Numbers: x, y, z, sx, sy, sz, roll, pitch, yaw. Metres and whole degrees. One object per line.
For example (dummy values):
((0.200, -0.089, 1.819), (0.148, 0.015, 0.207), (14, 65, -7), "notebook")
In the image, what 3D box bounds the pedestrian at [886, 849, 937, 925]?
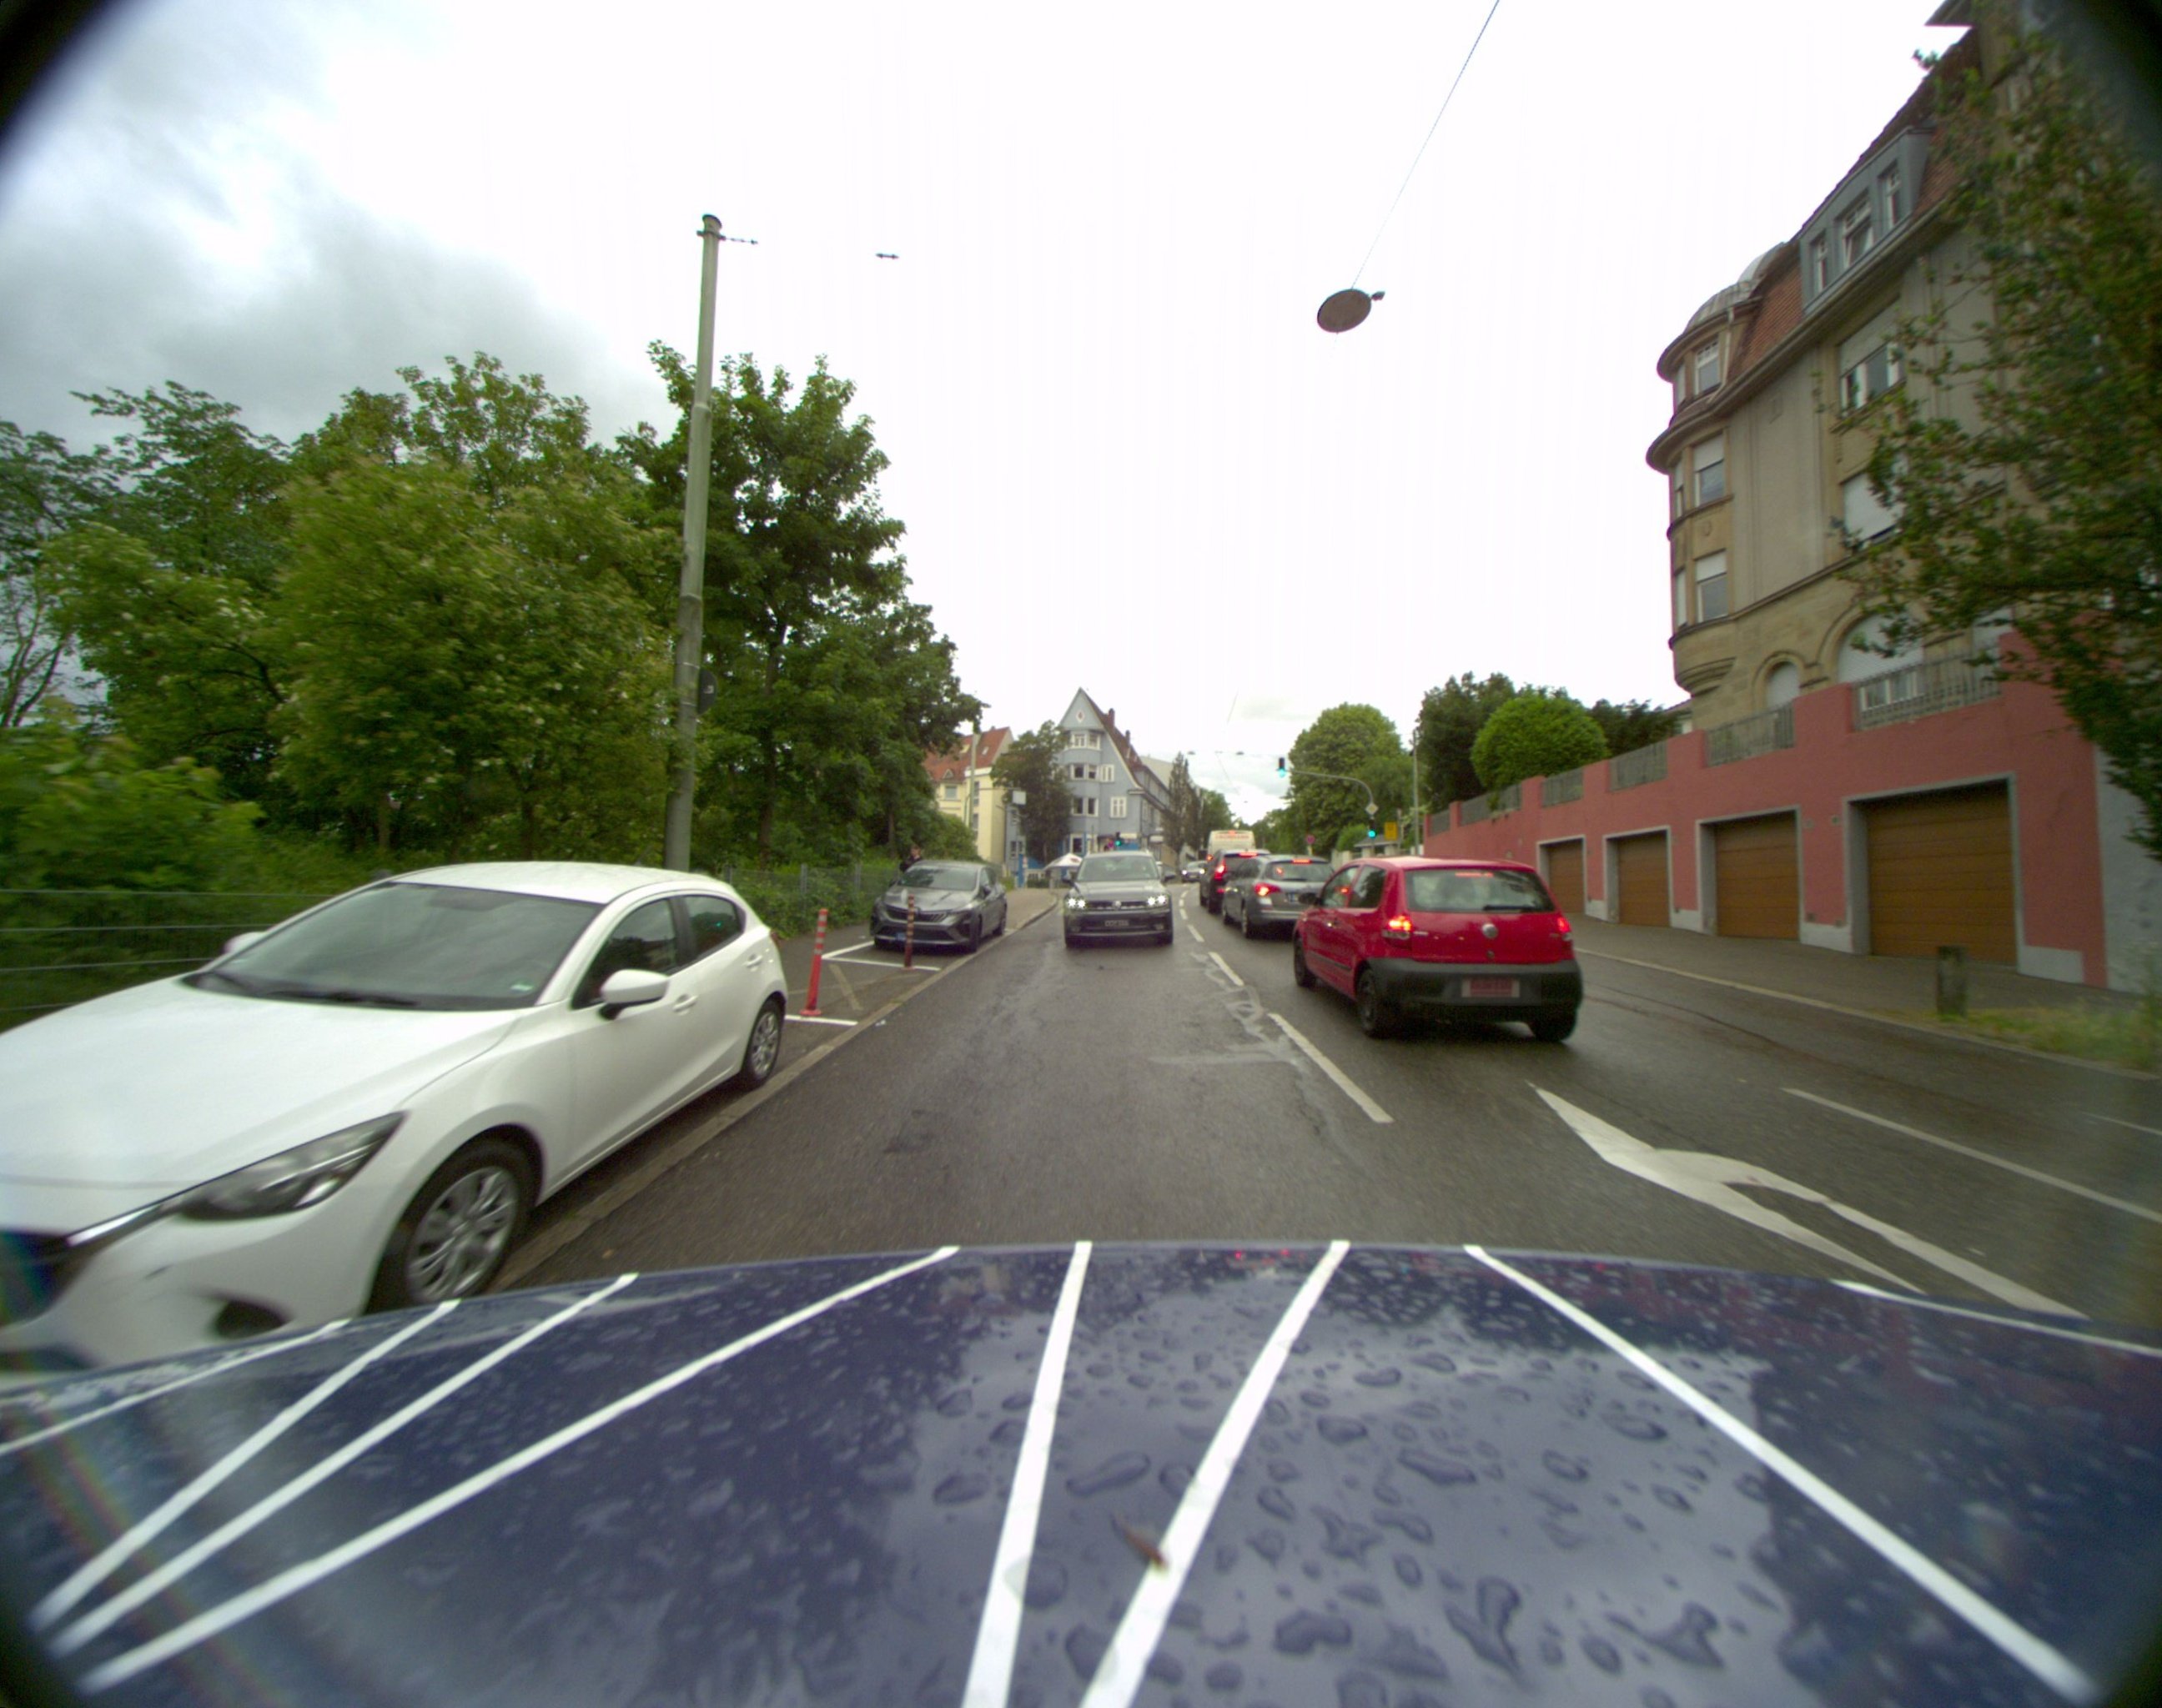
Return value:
((-3.717, 0.714, 16.765), (0.767, 1.596, 0.966), (3, 1, 6), "pedestrian")

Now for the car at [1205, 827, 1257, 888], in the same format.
((6.817, 0.128, 34.462), (2.121, 2.531, 5.545), (0, 0, 12), "car")

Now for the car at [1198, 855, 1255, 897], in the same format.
((5.361, 0.767, 28.351), (1.818, 1.421, 4.002), (1, 0, 7), "car")

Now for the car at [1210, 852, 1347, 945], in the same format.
((3.658, 0.743, 14.811), (1.778, 1.488, 4.264), (2, 0, 4), "car")

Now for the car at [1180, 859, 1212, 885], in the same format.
((7.998, 1.219, 52.766), (1.734, 1.610, 3.479), (-1, 0, 16), "car")

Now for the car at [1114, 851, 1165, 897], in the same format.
((2.323, 0.734, 29.236), (1.785, 1.631, 4.202), (0, 0, 7), "car")

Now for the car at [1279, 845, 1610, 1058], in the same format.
((3.194, 0.719, 7.615), (1.658, 1.559, 4.001), (0, 0, 4), "car")

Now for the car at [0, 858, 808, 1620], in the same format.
((-3.009, 0.890, 3.701), (1.819, 1.486, 3.999), (5, 1, -1), "car")

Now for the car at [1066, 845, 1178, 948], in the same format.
((0.730, 0.693, 14.285), (1.785, 1.631, 4.201), (0, 0, 2), "car")

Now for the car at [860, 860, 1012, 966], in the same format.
((-2.387, 0.907, 13.461), (1.653, 1.397, 3.813), (4, 1, 4), "car")

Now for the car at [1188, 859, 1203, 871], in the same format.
((13.981, 1.400, 92.627), (1.589, 1.403, 3.460), (2, -1, 11), "car")

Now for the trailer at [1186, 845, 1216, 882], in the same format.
((8.845, 0.686, 55.893), (1.769, 2.610, 3.036), (-1, 0, 15), "trailer")

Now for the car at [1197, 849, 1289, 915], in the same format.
((4.252, 0.676, 20.619), (1.879, 1.565, 4.588), (-1, 0, 5), "car")
